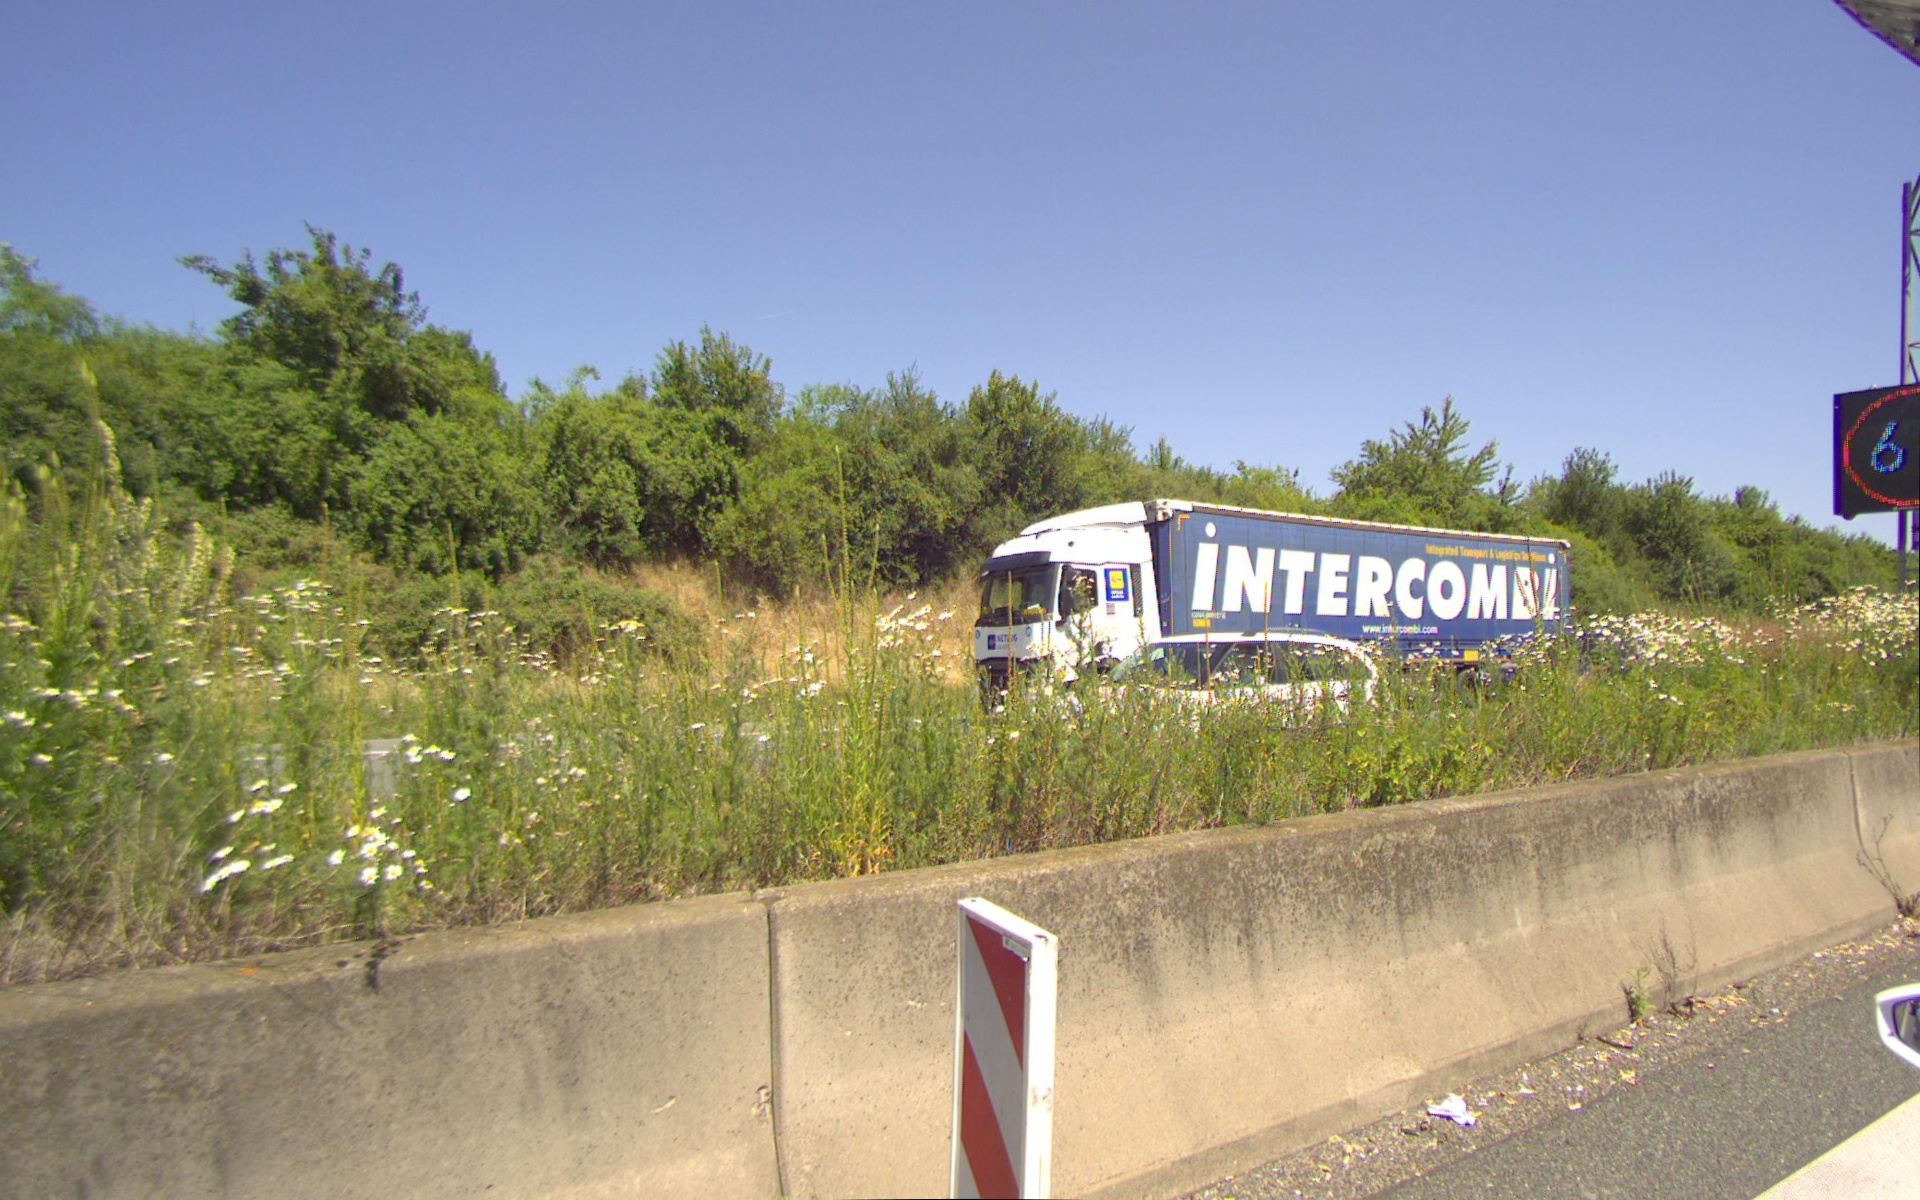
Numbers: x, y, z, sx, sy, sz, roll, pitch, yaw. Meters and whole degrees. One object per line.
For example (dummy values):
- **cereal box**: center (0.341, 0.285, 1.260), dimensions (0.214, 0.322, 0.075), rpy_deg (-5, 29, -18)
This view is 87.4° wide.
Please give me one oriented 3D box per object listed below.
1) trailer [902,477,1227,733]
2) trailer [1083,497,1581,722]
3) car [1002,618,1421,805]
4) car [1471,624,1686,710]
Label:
- **trailer**: center (1.963, 0.200, 18.800), dimensions (5.370, 4.110, 2.947), rpy_deg (1, -3, -31)
- **trailer**: center (9.069, 0.383, 23.087), dimensions (13.438, 4.110, 2.947), rpy_deg (1, -3, -31)
- **car**: center (2.502, 0.949, 9.728), dimensions (3.953, 1.462, 1.576), rpy_deg (1, 0, -30)
- **car**: center (12.057, 1.252, 19.521), dimensions (4.414, 1.462, 1.673), rpy_deg (1, 0, -30)
